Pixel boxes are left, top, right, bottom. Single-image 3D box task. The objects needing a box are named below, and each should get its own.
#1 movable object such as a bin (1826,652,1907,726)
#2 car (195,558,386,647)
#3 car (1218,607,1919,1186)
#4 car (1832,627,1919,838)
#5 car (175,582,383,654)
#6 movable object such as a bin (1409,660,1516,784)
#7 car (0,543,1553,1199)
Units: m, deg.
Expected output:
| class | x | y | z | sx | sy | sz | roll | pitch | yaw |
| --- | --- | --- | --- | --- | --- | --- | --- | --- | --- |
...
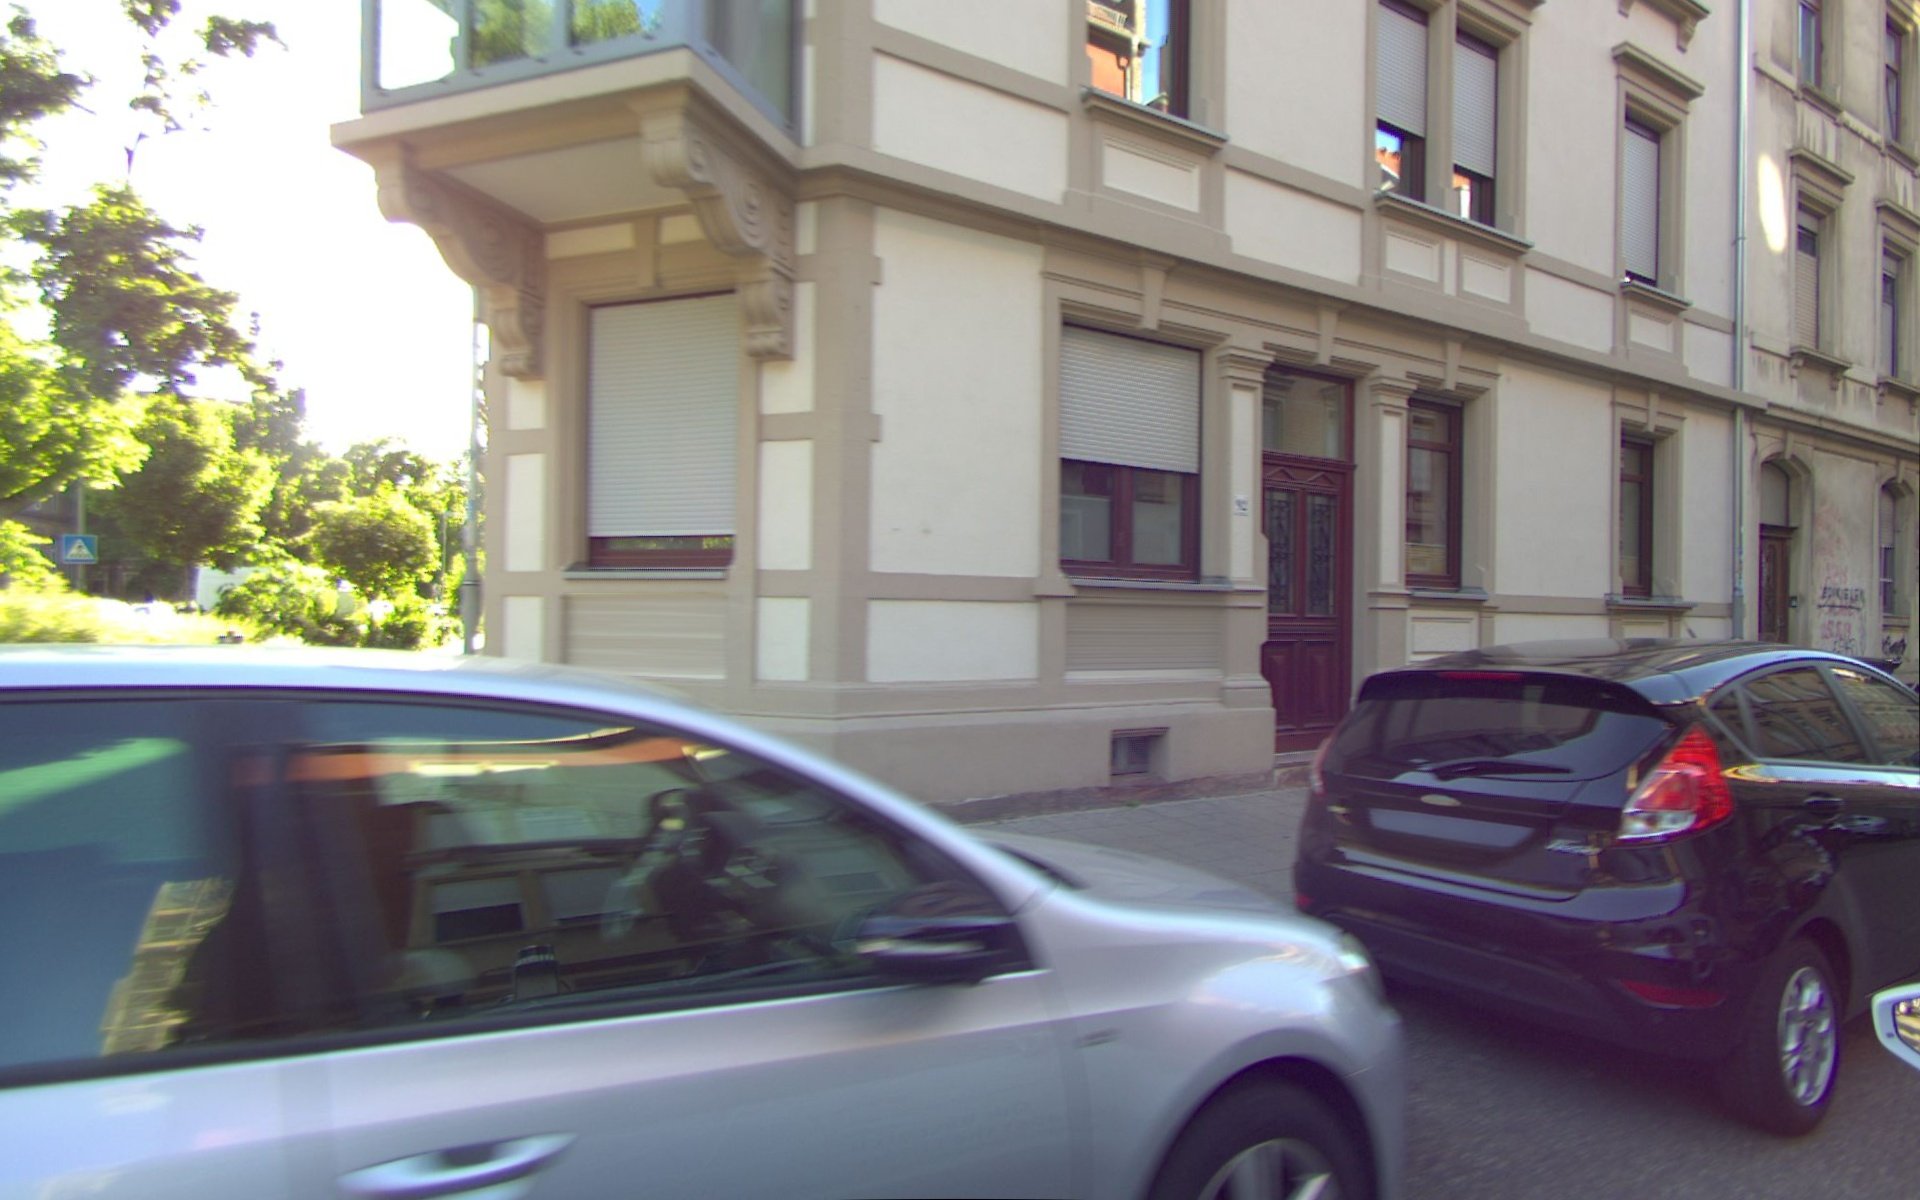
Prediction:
| class | x | y | z | sx | sy | sz | roll | pitch | yaw |
| --- | --- | --- | --- | --- | --- | --- | --- | --- | --- |
| movable object such as a bin | 12.120 | 1.170 | 13.433 | 0.725 | 0.932 | 0.609 | 1 | -1 | -31 |
| car | -21.807 | 0.138 | 32.988 | 4.839 | 2.741 | 2.124 | 1 | -1 | -23 |
| car | 3.107 | 0.811 | 4.325 | 3.698 | 1.503 | 1.773 | 1 | -1 | -30 |
| car | 8.295 | 0.938 | 7.448 | 3.701 | 1.422 | 1.771 | 1 | -1 | -32 |
| car | -20.546 | 0.576 | 30.590 | 4.835 | 2.040 | 1.991 | 1 | -1 | -20 |
| movable object such as a bin | 4.294 | 1.017 | 8.597 | 0.505 | 0.968 | 0.618 | 1 | 1 | -30 |
| car | -0.833 | 0.709 | 2.042 | 3.883 | 1.503 | 1.774 | 1 | -1 | -28 |
